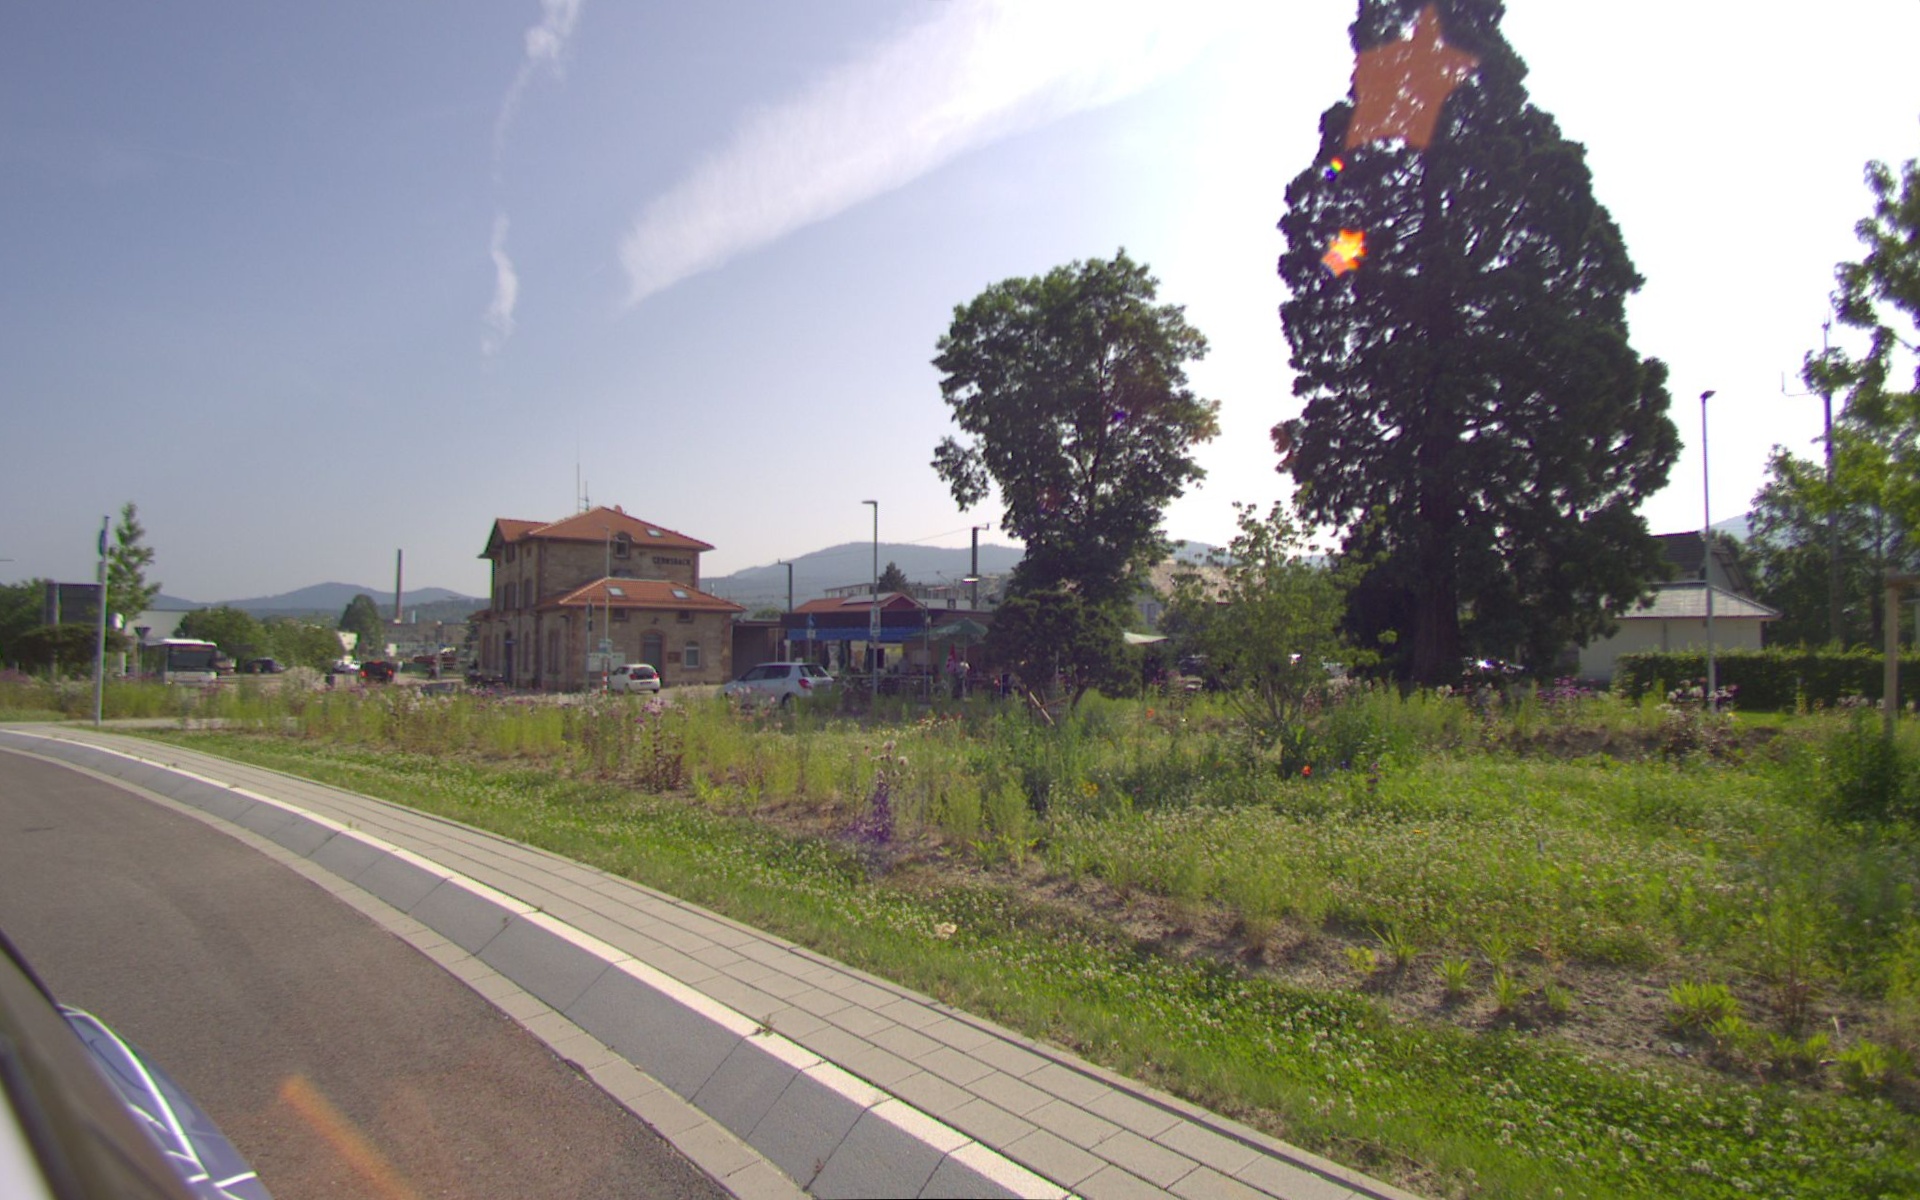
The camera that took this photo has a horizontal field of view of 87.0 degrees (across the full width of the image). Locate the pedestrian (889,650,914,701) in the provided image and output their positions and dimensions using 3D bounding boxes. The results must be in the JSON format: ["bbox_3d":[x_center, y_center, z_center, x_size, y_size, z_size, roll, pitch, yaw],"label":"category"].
[{"bbox_3d":[-2.383,3.064,41.417,0.703,2.029,0.853,-2,-2,19],"label":"pedestrian"}]

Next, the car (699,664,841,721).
[{"bbox_3d":[-5.589,2.682,29.709,3.984,1.543,1.658,-2,-5,30],"label":"car"}]

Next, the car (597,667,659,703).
[{"bbox_3d":[-16.867,4.275,51.370,1.654,1.580,3.656,0,-1,-42],"label":"car"}]

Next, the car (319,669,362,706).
[{"bbox_3d":[-38.389,5.390,62.839,1.944,1.980,5.173,-1,-2,-28],"label":"car"}]

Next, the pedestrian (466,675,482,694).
[{"bbox_3d":[-30.548,5.300,63.609,0.778,1.171,0.507,-1,-2,-36],"label":"pedestrian"}]

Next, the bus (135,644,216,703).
[{"bbox_3d":[-49.552,4.579,63.767,10.590,3.354,2.551,-3,-2,44],"label":"bus"}]

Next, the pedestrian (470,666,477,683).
[{"bbox_3d":[-33.571,5.117,69.813,0.366,1.171,0.507,0,-2,-36],"label":"pedestrian"}]

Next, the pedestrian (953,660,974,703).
[{"bbox_3d":[0.129,3.138,38.828,0.564,1.602,0.646,-2,-2,19],"label":"pedestrian"}]

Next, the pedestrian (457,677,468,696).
[{"bbox_3d":[-32.106,5.579,65.313,0.504,1.171,0.507,-1,-2,-36],"label":"pedestrian"}]
